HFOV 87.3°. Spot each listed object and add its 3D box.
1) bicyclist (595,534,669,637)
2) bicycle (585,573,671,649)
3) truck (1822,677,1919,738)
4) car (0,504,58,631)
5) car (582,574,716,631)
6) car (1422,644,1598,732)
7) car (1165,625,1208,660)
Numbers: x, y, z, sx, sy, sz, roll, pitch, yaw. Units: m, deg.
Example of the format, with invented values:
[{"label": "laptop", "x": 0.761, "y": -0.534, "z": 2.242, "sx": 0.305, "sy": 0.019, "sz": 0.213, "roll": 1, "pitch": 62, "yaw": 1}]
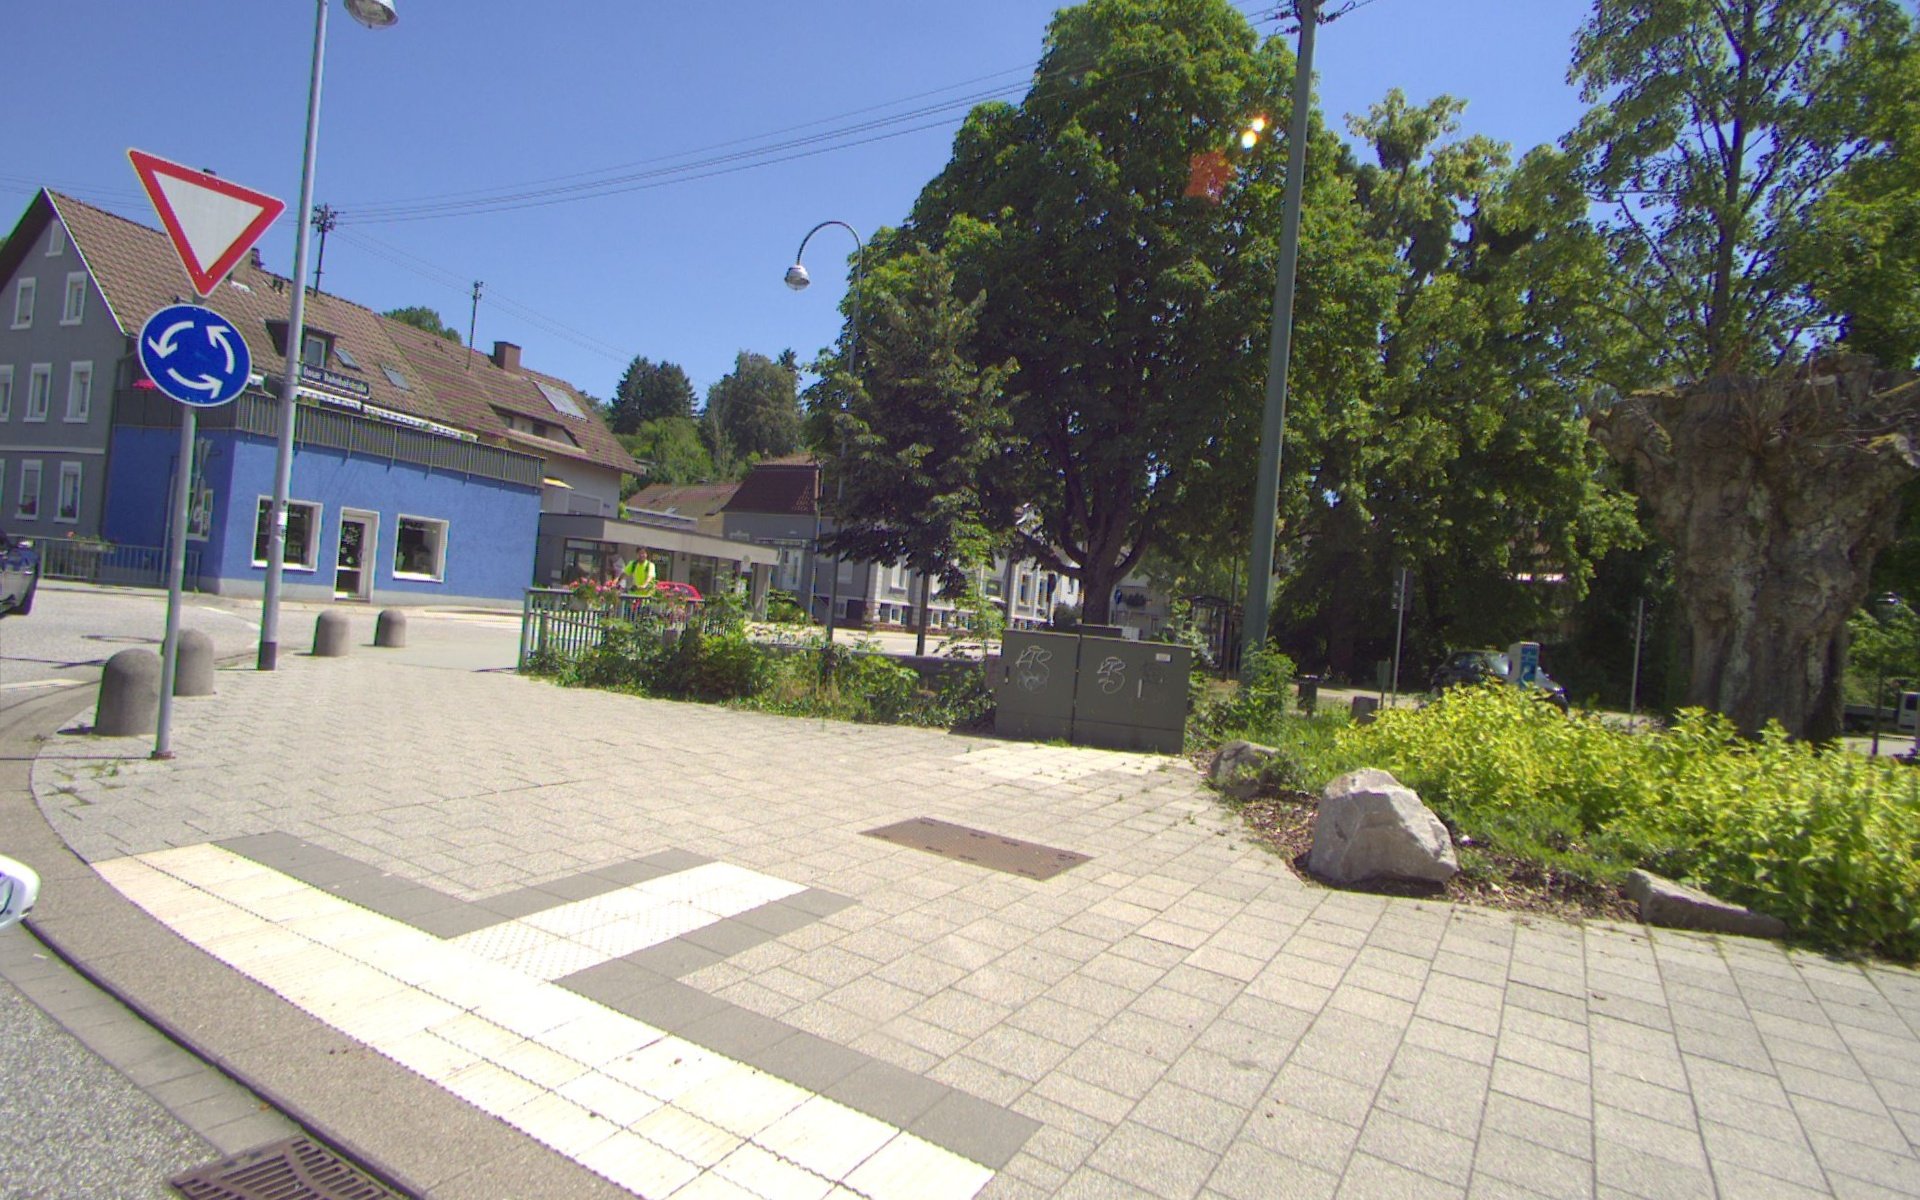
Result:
[{"label": "bicyclist", "x": -5.648, "y": -0.239, "z": 17.373, "sx": 0.795, "sy": 1.656, "sz": 1.062, "roll": 5, "pitch": 0, "yaw": 0}, {"label": "bicycle", "x": -5.691, "y": 0.186, "z": 17.368, "sx": 0.795, "sy": 1.170, "sz": 1.852, "roll": 5, "pitch": 0, "yaw": 0}, {"label": "truck", "x": 46.098, "y": 5.374, "z": 48.645, "sx": 2.240, "sy": 2.471, "sz": 6.175, "roll": 8, "pitch": -2, "yaw": -29}, {"label": "car", "x": -11.977, "y": -0.496, "z": 11.341, "sx": 1.966, "sy": 1.414, "sz": 4.583, "roll": 9, "pitch": -2, "yaw": -35}, {"label": "car", "x": -10.245, "y": 0.119, "z": 33.421, "sx": 1.805, "sy": 1.551, "sz": 3.991, "roll": 3, "pitch": -2, "yaw": 32}, {"label": "car", "x": 12.935, "y": 2.011, "z": 23.981, "sx": 1.808, "sy": 1.621, "sz": 3.999, "roll": 5, "pitch": 0, "yaw": -1}, {"label": "car", "x": 16.313, "y": 3.071, "z": 72.339, "sx": 1.964, "sy": 2.037, "sz": 4.000, "roll": 7, "pitch": -2, "yaw": 25}]
